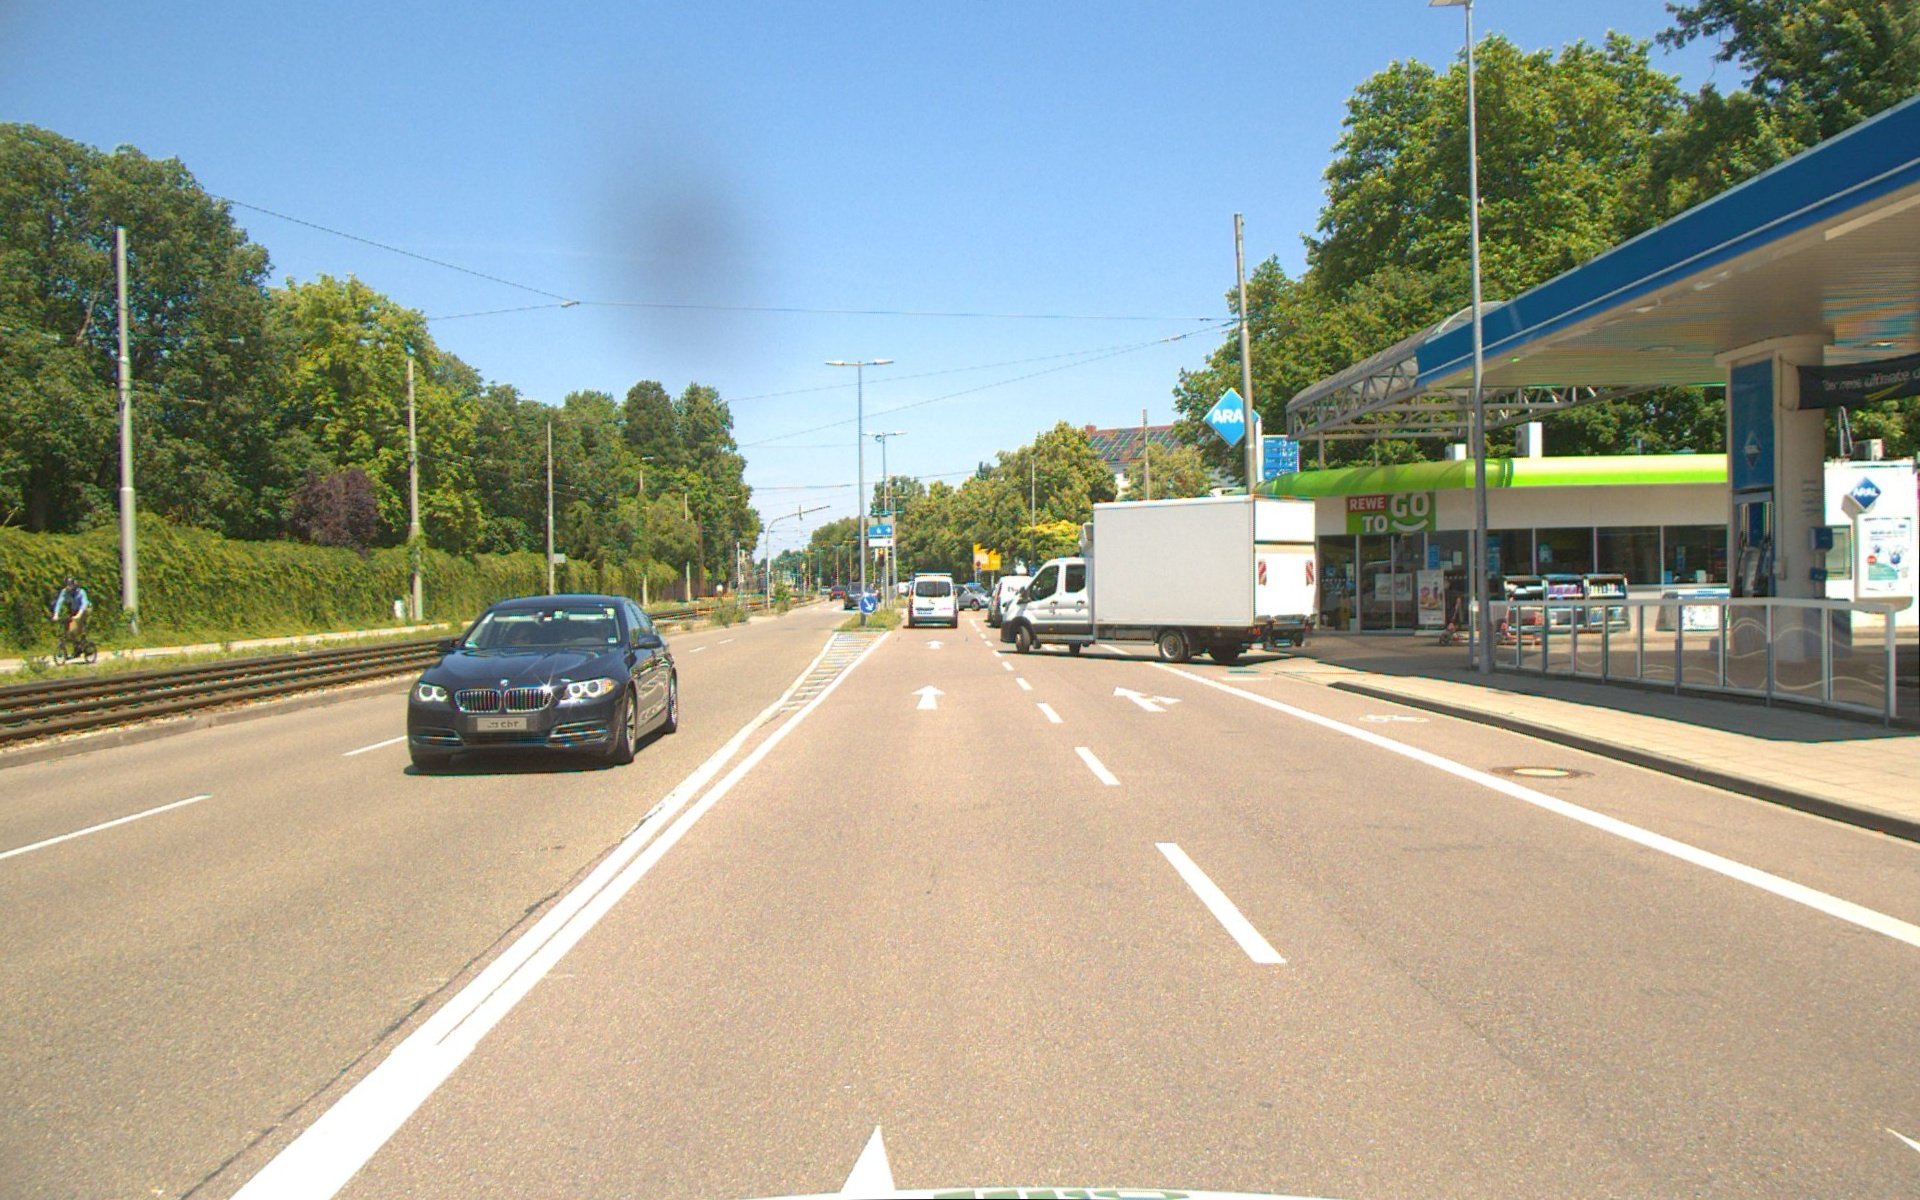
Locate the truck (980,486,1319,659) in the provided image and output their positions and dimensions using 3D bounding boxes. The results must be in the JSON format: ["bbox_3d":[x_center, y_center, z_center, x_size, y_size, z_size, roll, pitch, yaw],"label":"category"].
[{"bbox_3d":[3.988,-0.558,36.526,2.408,3.450,7.709,-2,1,-43],"label":"truck"}]

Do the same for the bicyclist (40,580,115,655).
[{"bbox_3d":[-18.159,0.343,34.051,0.974,1.512,1.000,-1,1,0],"label":"bicyclist"}]

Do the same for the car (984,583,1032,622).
[{"bbox_3d":[1.905,0.072,67.060,1.720,1.512,3.999,-1,1,-1],"label":"car"}]

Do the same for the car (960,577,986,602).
[{"bbox_3d":[1.018,-0.817,130.153,1.953,1.892,3.999,-1,1,-1],"label":"car"}]

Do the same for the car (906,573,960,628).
[{"bbox_3d":[-0.964,-0.010,58.213,1.829,1.868,3.847,0,1,-2],"label":"car"}]

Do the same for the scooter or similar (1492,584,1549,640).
[{"bbox_3d":[12.265,0.261,36.192,1.112,1.197,0.384,-1,0,0],"label":"scooter or similar"}]

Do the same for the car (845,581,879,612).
[{"bbox_3d":[-6.236,-0.239,104.859,1.955,1.861,4.535,-1,1,-5],"label":"car"}]

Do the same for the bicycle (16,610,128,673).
[{"bbox_3d":[-18.152,0.833,33.893,0.811,1.176,2.685,-1,1,0],"label":"bicycle"}]

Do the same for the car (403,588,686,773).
[{"bbox_3d":[-3.675,0.621,15.403,1.758,1.424,4.445,-1,1,-4],"label":"car"}]

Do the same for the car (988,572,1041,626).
[{"bbox_3d":[1.926,-0.060,59.178,1.675,1.862,4.013,-1,1,-1],"label":"car"}]
